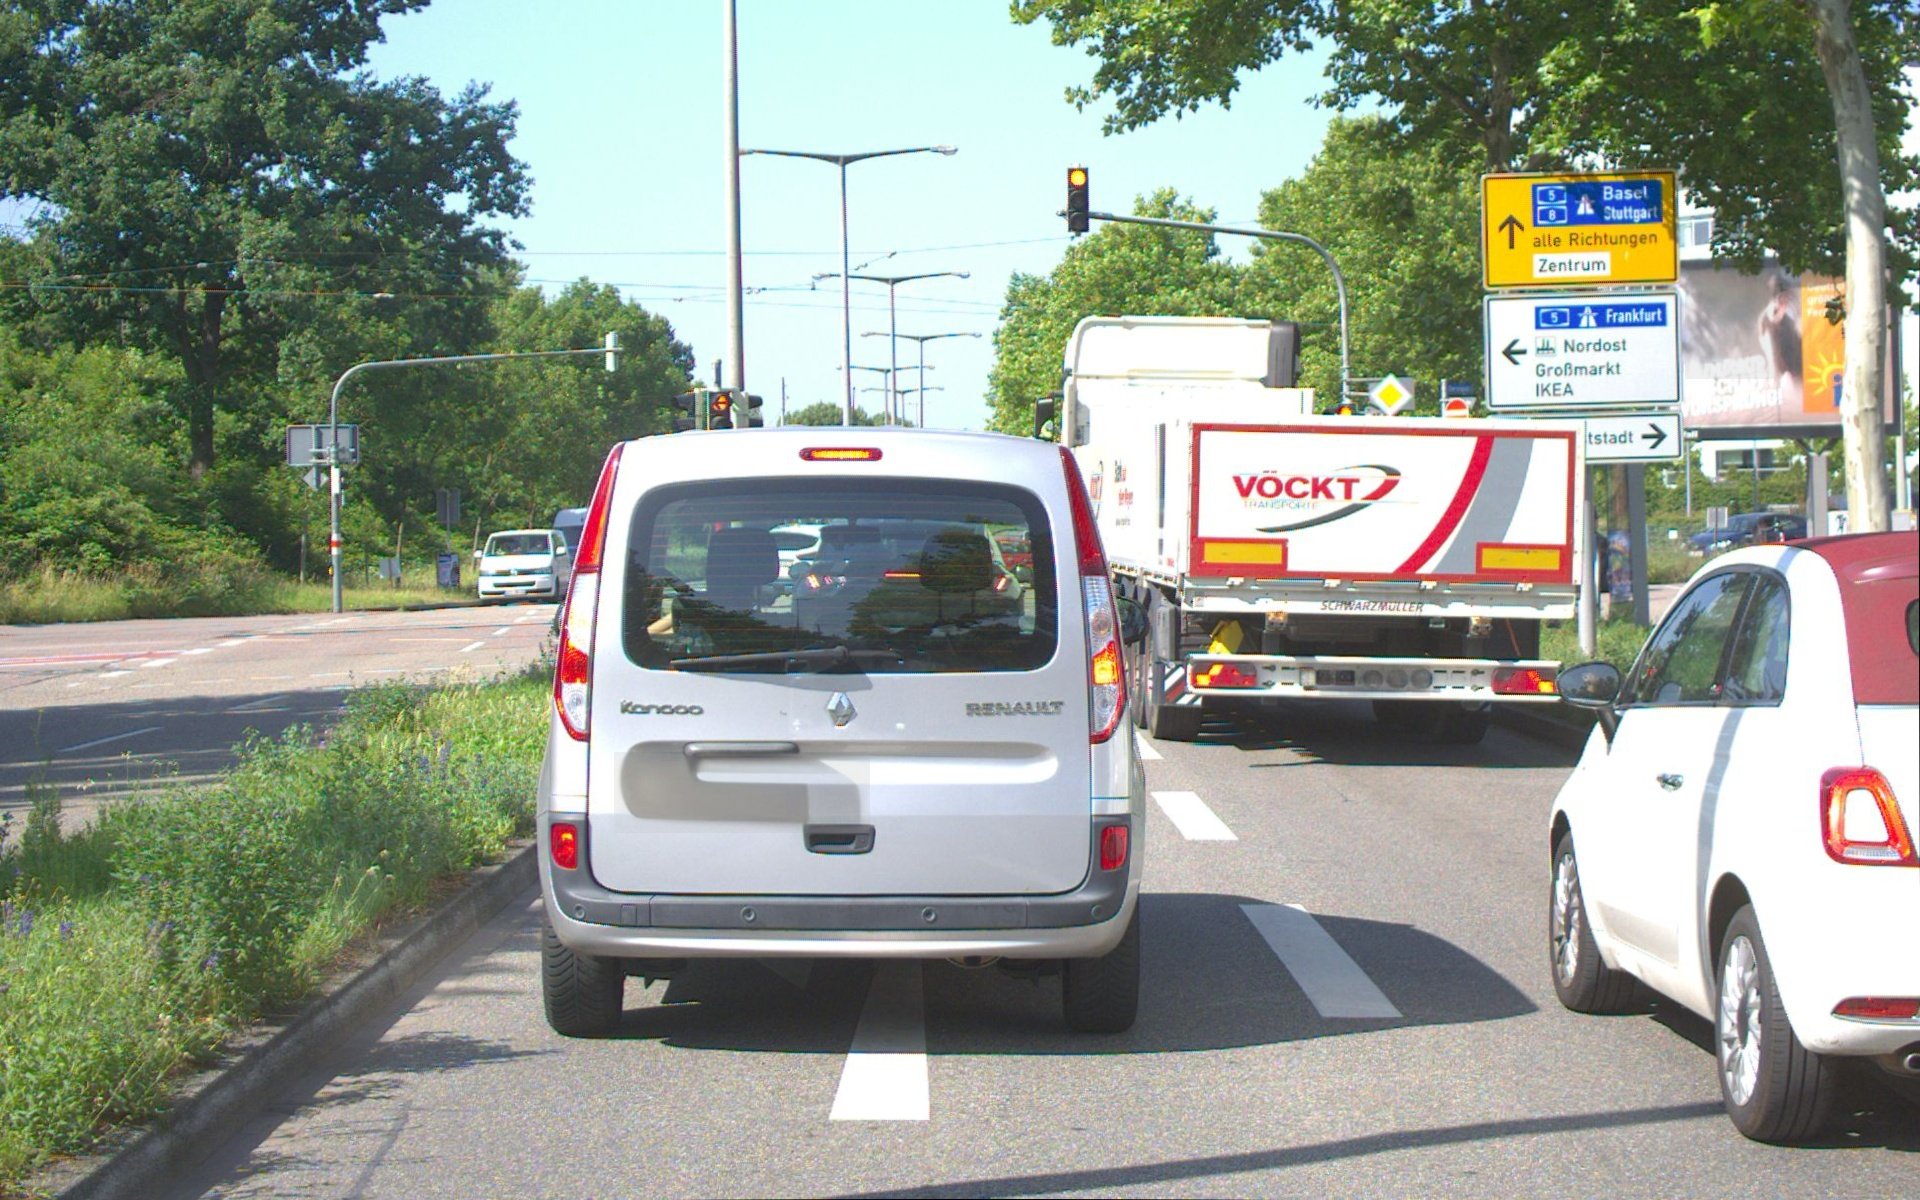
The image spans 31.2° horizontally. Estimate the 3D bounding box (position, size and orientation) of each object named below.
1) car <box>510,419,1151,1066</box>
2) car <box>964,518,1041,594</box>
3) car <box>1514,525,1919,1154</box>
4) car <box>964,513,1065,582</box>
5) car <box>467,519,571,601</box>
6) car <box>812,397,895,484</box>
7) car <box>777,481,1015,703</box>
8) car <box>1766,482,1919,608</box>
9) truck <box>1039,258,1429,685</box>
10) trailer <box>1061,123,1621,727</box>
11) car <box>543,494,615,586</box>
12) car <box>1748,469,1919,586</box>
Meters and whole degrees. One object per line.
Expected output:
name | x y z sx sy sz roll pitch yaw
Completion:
car | -0.389 0.356 11.374 1.749 1.766 3.950 0 1 -1
car | 1.128 -1.208 93.339 1.993 2.007 4.000 0 1 -1
car | 2.639 0.516 9.579 1.661 1.431 3.520 0 1 1
car | 1.299 -1.283 83.728 1.993 1.634 4.001 0 1 -6
car | -10.938 -1.003 85.562 1.993 1.884 4.988 -3 1 -1
car | -2.606 -3.845 83.514 1.713 2.007 4.001 0 1 -6
car | -0.584 -0.094 28.074 1.809 1.678 4.001 0 1 -3
car | 12.891 -0.734 45.781 3.987 1.656 1.723 0 1 5
truck | 2.493 -1.195 33.972 3.071 3.745 7.477 0 1 -1
trailer | 2.528 -1.187 27.353 3.016 3.728 12.241 0 1 0
car | -11.236 -1.766 101.317 2.058 2.605 5.871 0 1 -7
car | 13.483 -1.042 49.446 3.987 1.656 1.723 0 1 5
